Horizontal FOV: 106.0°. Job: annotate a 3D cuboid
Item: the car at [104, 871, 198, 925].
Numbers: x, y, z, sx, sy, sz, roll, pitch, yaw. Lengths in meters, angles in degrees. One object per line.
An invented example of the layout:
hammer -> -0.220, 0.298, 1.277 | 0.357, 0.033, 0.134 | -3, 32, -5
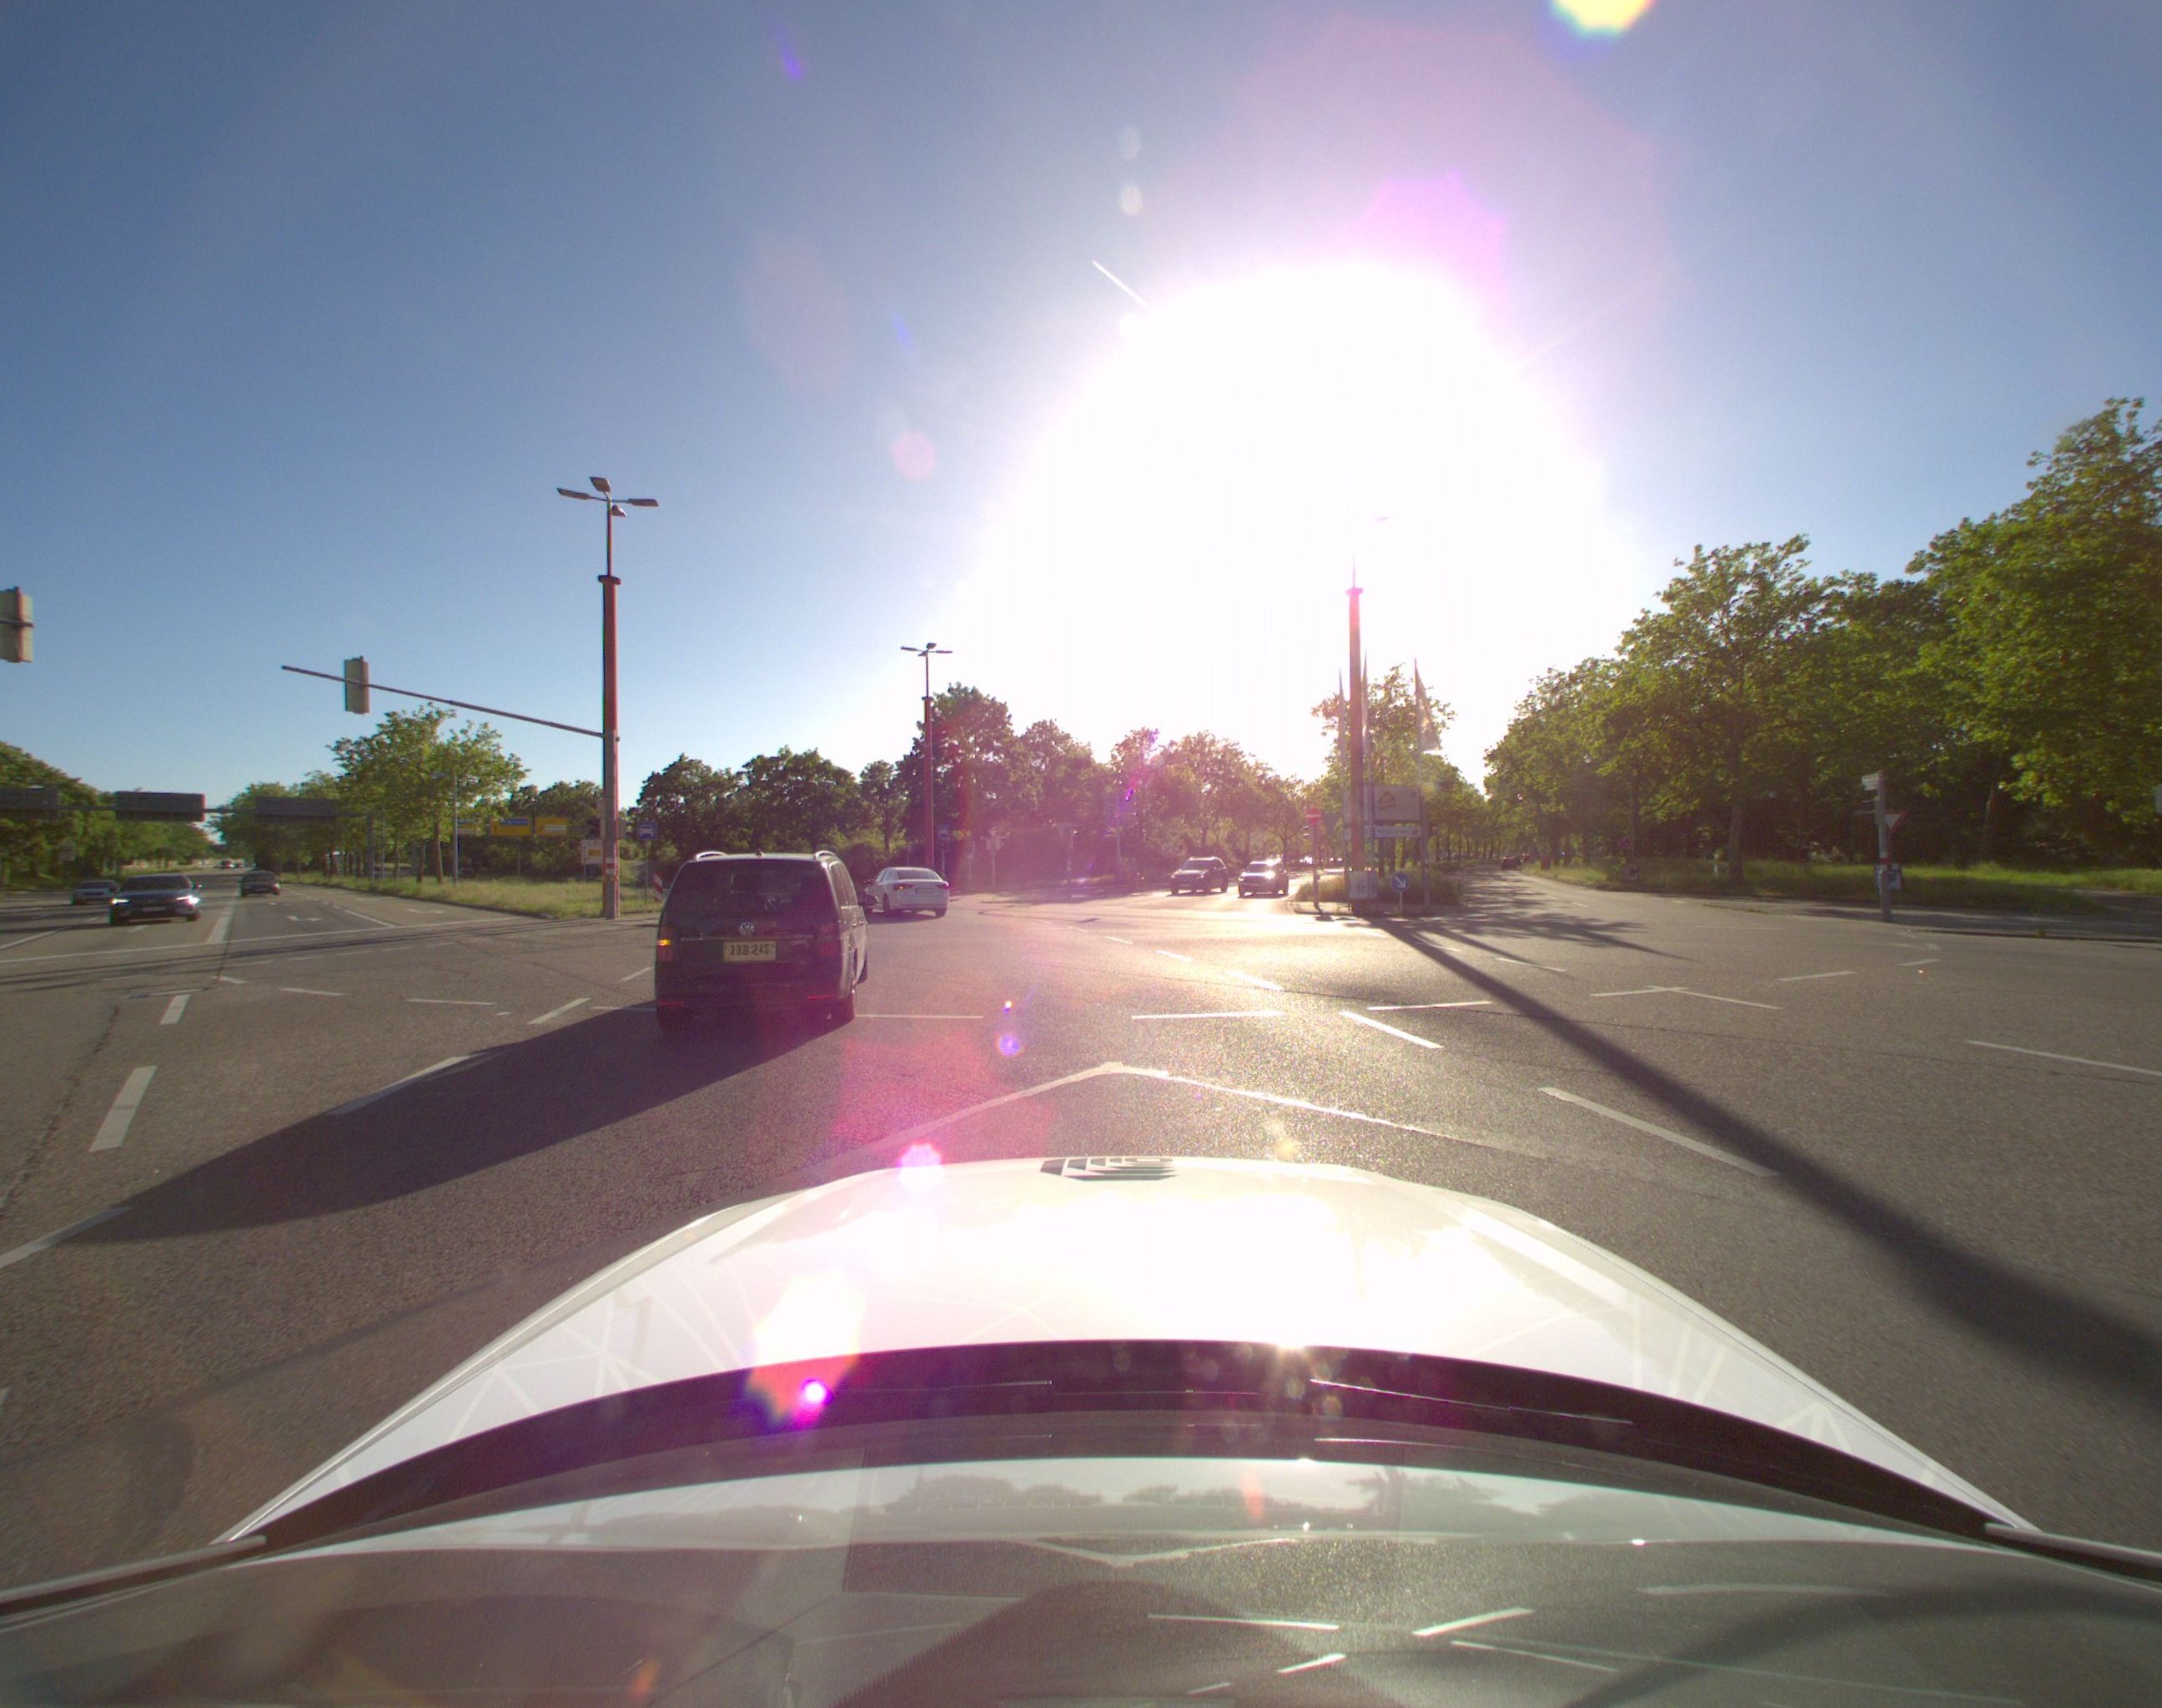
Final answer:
car -> -31.763, 1.442, 27.935 | 4.508, 1.610, 1.916 | -2, 0, 43

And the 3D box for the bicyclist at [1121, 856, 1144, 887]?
bicyclist -> 2.696, 0.911, 42.558 | 0.751, 1.557, 0.987 | -2, -1, 33

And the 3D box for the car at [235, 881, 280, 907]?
car -> -54.415, 2.610, 53.786 | 4.508, 1.565, 1.916 | -2, 0, 43

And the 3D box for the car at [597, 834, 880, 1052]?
car -> -3.220, 0.697, 8.726 | 1.768, 1.644, 4.905 | 0, -1, -10

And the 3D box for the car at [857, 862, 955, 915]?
car -> -5.470, 0.992, 25.024 | 1.778, 1.464, 4.325 | 0, -1, -29

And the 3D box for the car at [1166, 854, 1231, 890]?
car -> 5.979, 0.871, 41.133 | 1.885, 1.726, 4.680 | -1, -1, 26

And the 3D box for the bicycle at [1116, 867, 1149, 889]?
bicycle -> 2.708, 1.233, 42.560 | 0.756, 1.091, 2.028 | -2, -1, 33

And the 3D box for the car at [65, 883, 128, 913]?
car -> -59.467, 2.620, 49.261 | 1.916, 1.610, 4.509 | -2, 0, -44

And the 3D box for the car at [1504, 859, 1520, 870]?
car -> 54.303, 1.269, 102.534 | 1.773, 1.388, 4.074 | 0, 0, 29

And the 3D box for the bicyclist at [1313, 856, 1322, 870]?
bicyclist -> 25.032, 0.986, 86.260 | 0.728, 1.436, 0.972 | -2, -1, 30

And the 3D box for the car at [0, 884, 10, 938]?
car -> -29.366, 1.555, 20.809 | 4.508, 1.474, 1.916 | -2, 0, 43

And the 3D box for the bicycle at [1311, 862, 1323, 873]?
bicycle -> 24.980, 1.407, 86.145 | 0.728, 1.091, 2.027 | -2, -1, 30

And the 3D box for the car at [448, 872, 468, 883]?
car -> -88.653, 3.376, 115.863 | 1.783, 1.464, 4.312 | 0, -1, -45

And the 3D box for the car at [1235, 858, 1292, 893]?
car -> 8.562, 0.956, 38.000 | 1.751, 1.539, 4.114 | -1, -1, 25

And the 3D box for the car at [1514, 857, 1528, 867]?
car -> 70.894, 1.315, 131.310 | 1.854, 1.627, 4.024 | 0, -1, 30
